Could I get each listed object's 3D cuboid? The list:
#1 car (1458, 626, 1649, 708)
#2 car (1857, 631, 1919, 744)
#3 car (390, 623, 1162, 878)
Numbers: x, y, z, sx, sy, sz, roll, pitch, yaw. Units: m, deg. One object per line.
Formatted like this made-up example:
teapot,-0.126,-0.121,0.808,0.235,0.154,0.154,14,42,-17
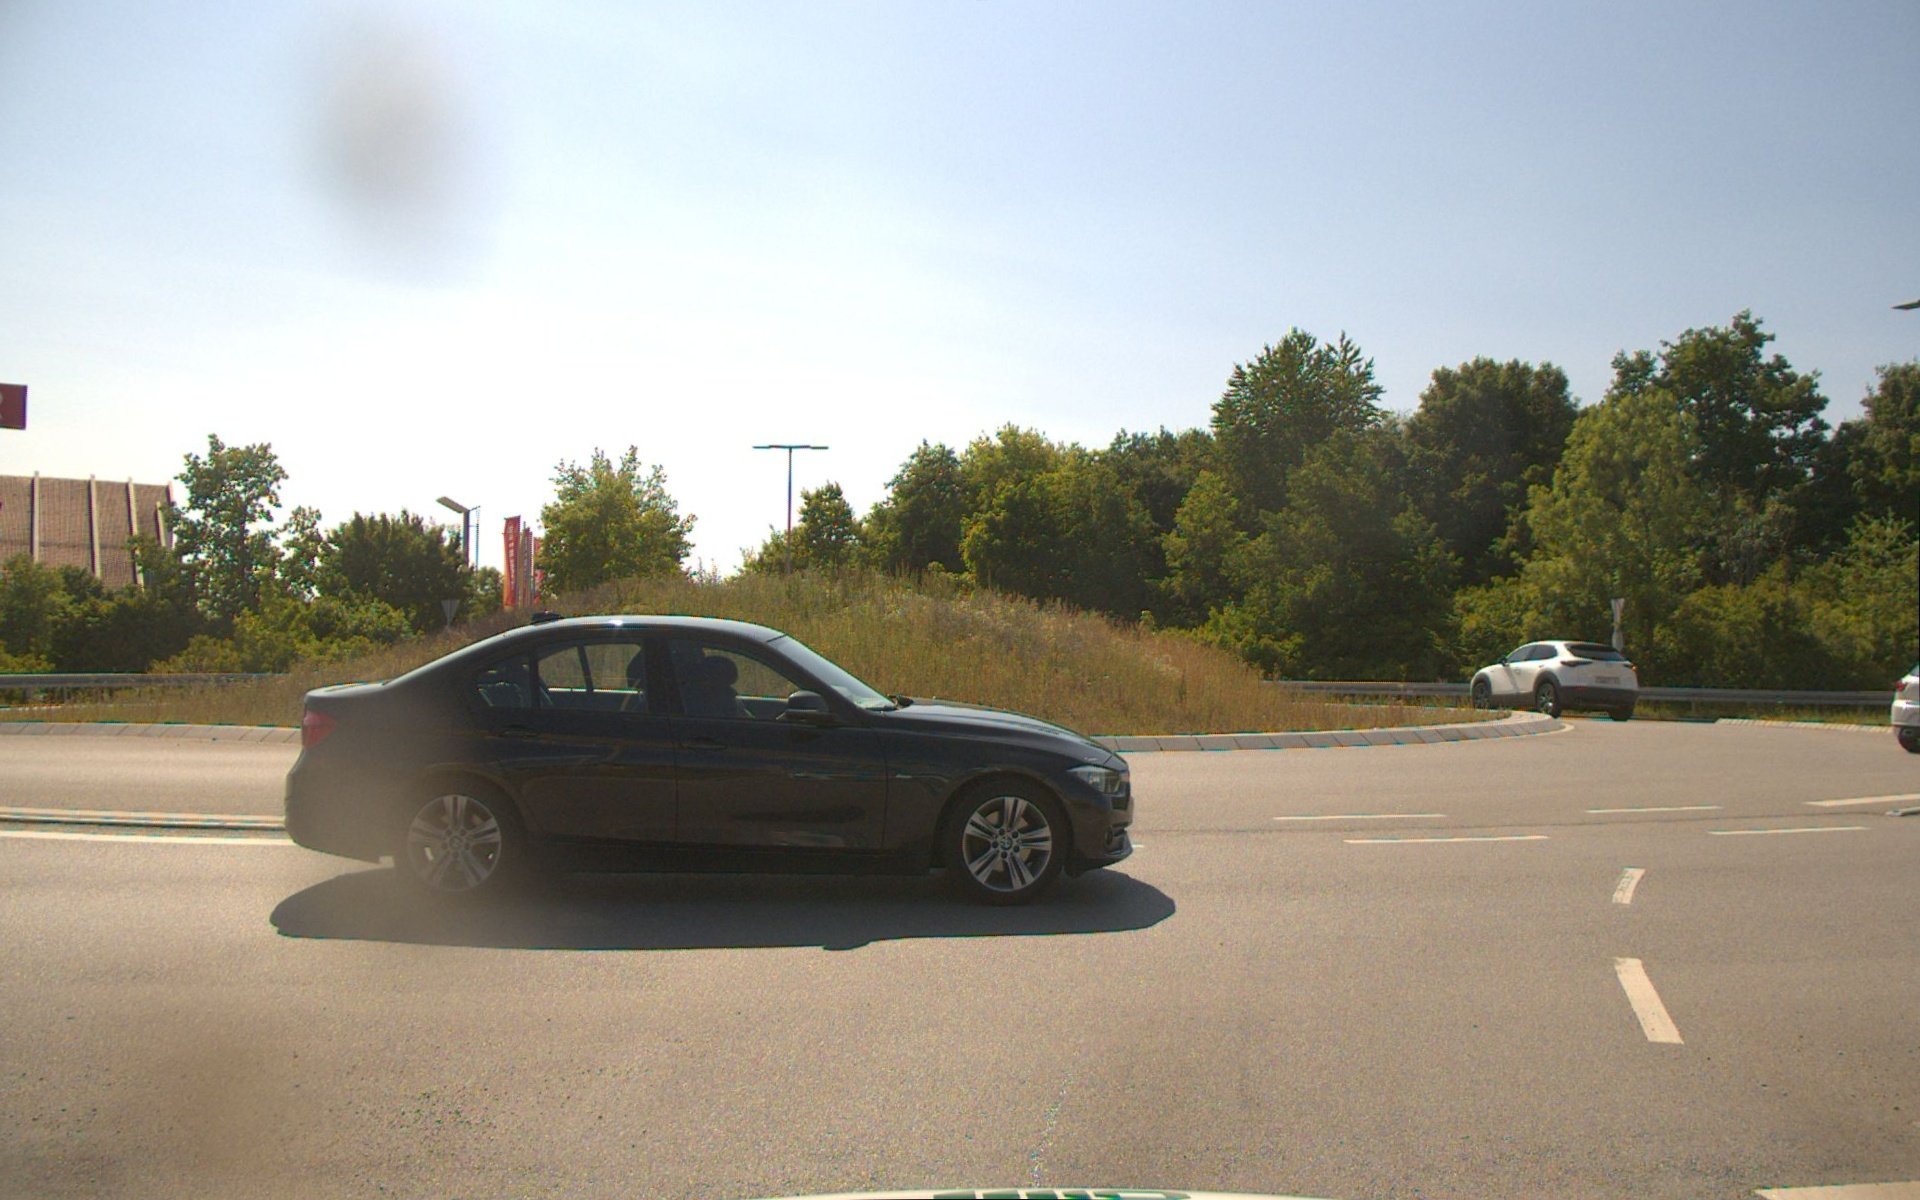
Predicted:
car,12.048,1.369,33.905,1.754,1.557,4.276,0,-2,-11
car,14.109,1.186,22.431,4.368,1.430,1.768,2,-1,-37
car,-0.938,0.770,9.043,3.777,1.203,1.674,1,-1,-6
